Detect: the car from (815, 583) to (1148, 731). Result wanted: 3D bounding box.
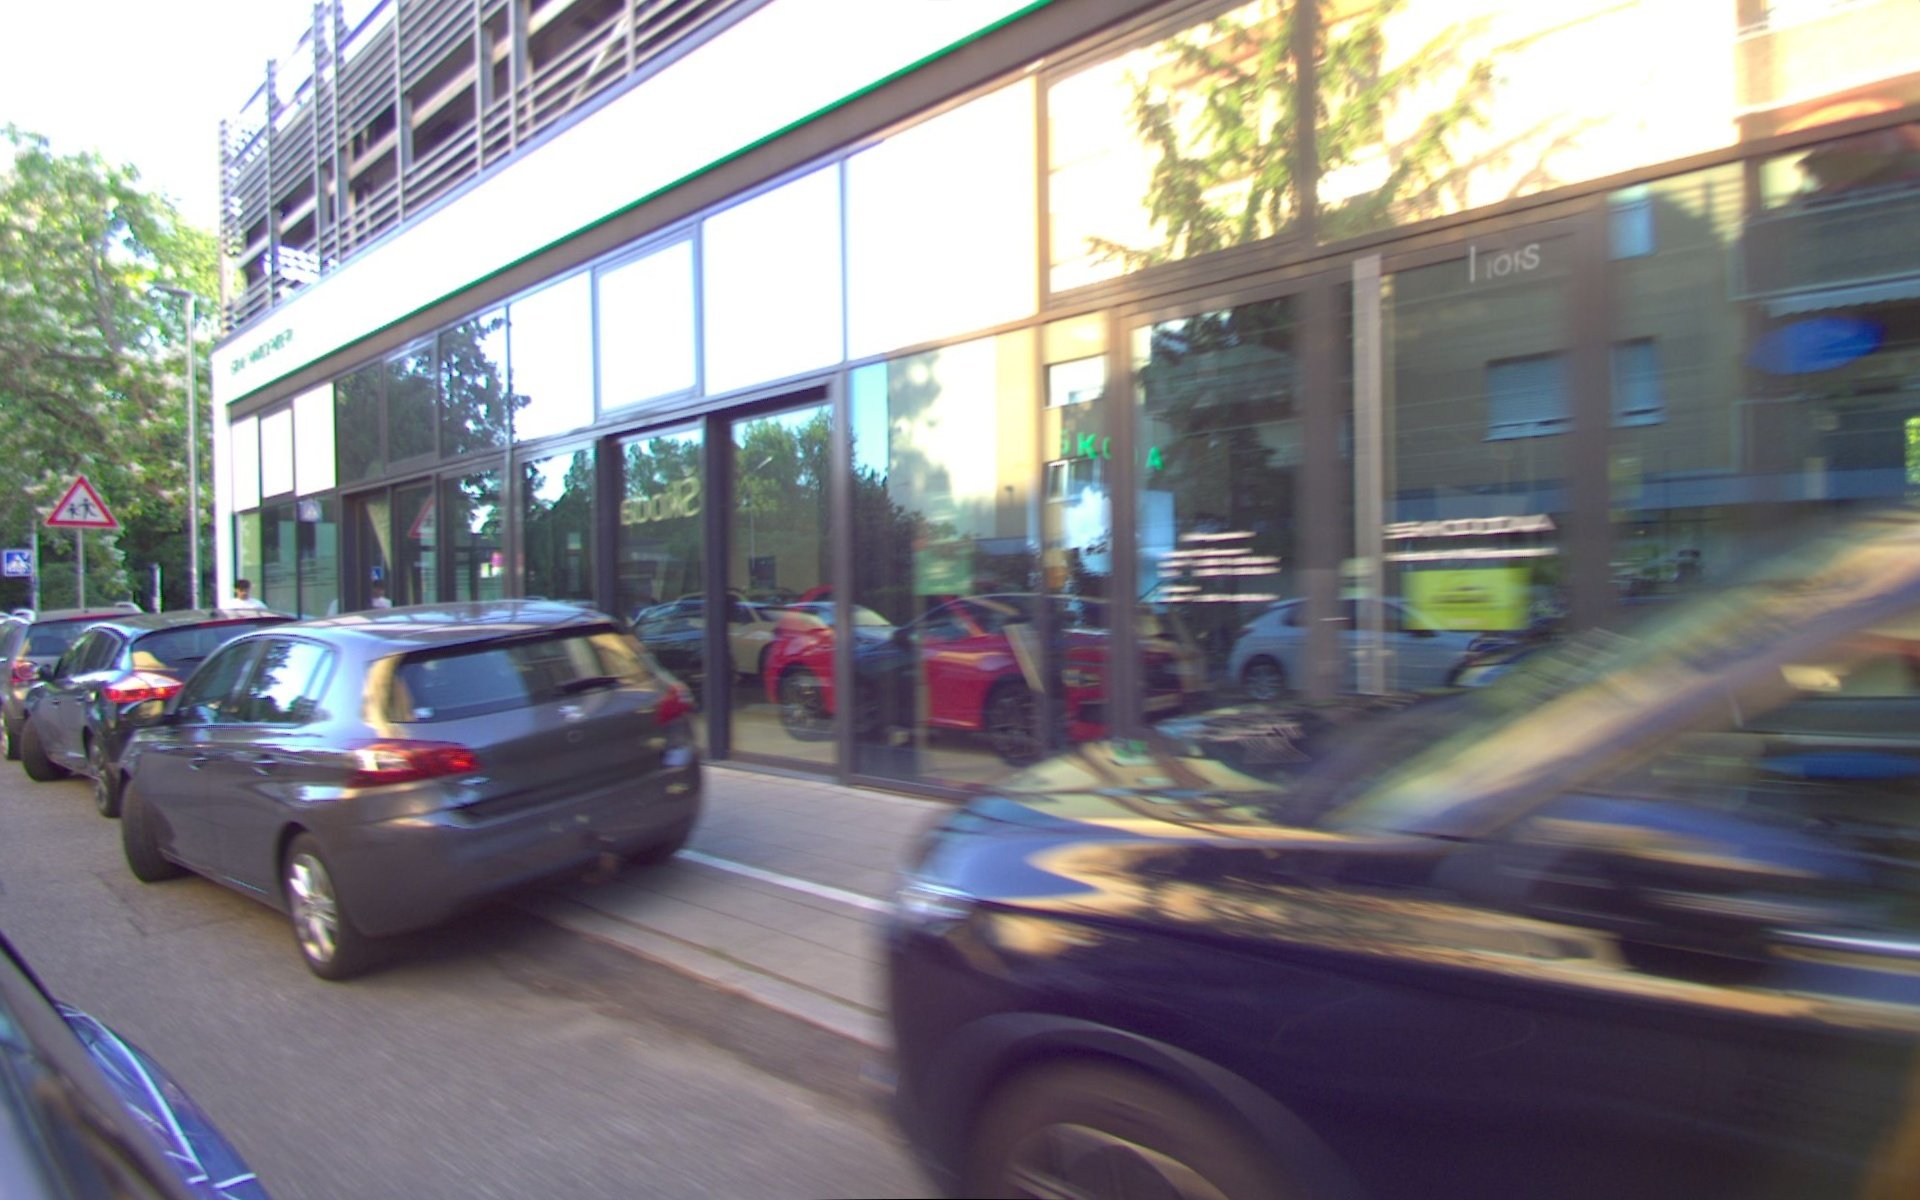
[{"bbox_3d":[0.160,0.681,13.478,4.322,1.671,1.680,-2,-1,40],"label":"car"}]

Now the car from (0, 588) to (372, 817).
[{"bbox_3d":[-6.926,0.739,8.829,4.002,1.413,1.712,-2,5,39],"label":"car"}]

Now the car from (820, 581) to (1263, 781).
[{"bbox_3d":[0.632,0.653,9.662,3.991,1.526,1.680,-2,-1,41],"label":"car"}]

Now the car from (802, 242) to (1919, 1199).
[{"bbox_3d":[1.909,0.518,1.251,4.400,1.769,1.680,-2,-1,40],"label":"car"}]

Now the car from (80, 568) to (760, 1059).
[{"bbox_3d":[-3.147,0.744,5.452,4.204,1.609,1.916,-2,-1,42],"label":"car"}]

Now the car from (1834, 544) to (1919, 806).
[{"bbox_3d":[7.779,0.454,6.109,3.735,1.671,1.680,-1,0,40],"label":"car"}]

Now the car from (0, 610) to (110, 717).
[{"bbox_3d":[-15.221,0.990,16.127,3.921,1.421,1.647,-2,4,37],"label":"car"}]

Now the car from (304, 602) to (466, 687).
[{"bbox_3d":[-11.602,0.853,20.332,3.873,1.534,1.577,-2,-1,40],"label":"car"}]

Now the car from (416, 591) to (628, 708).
[{"bbox_3d":[-7.108,0.743,16.265,3.873,1.662,1.577,-2,-1,40],"label":"car"}]

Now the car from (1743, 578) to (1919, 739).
[{"bbox_3d":[9.688,0.499,9.251,3.917,1.445,1.680,-2,-1,40],"label":"car"}]

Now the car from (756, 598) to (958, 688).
[{"bbox_3d":[-2.088,0.803,19.813,3.917,1.573,1.680,-2,-1,40],"label":"car"}]

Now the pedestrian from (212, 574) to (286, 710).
[{"bbox_3d":[-10.208,0.589,14.532,0.620,1.892,0.713,-2,-1,41],"label":"pedestrian"}]

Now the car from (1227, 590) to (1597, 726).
[{"bbox_3d":[5.558,0.652,12.703,3.917,1.445,1.680,-2,-1,40],"label":"car"}]

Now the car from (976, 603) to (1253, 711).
[{"bbox_3d":[2.295,0.817,15.600,3.917,1.445,1.680,-2,-1,40],"label":"car"}]

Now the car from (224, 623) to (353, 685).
[{"bbox_3d":[-15.707,1.223,23.623,3.448,1.303,1.577,-2,-1,40],"label":"car"}]

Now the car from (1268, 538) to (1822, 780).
[{"bbox_3d":[5.141,0.433,9.252,4.129,1.738,1.680,-1,0,40],"label":"car"}]

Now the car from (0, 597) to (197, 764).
[{"bbox_3d":[-10.621,0.841,11.993,3.883,1.508,1.645,-1,5,41],"label":"car"}]

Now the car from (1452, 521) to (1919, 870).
[{"bbox_3d":[5.228,0.445,5.387,4.406,1.671,1.680,-2,-1,40],"label":"car"}]

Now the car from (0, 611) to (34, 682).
[{"bbox_3d":[-22.710,1.110,22.945,3.875,1.525,1.648,-2,2,35],"label":"car"}]

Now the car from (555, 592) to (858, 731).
[{"bbox_3d":[-3.396,0.713,13.125,4.189,1.526,1.680,-2,-1,40],"label":"car"}]

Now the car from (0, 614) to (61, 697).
[{"bbox_3d":[-19.309,1.104,19.919,4.409,1.426,1.646,-2,5,40],"label":"car"}]
